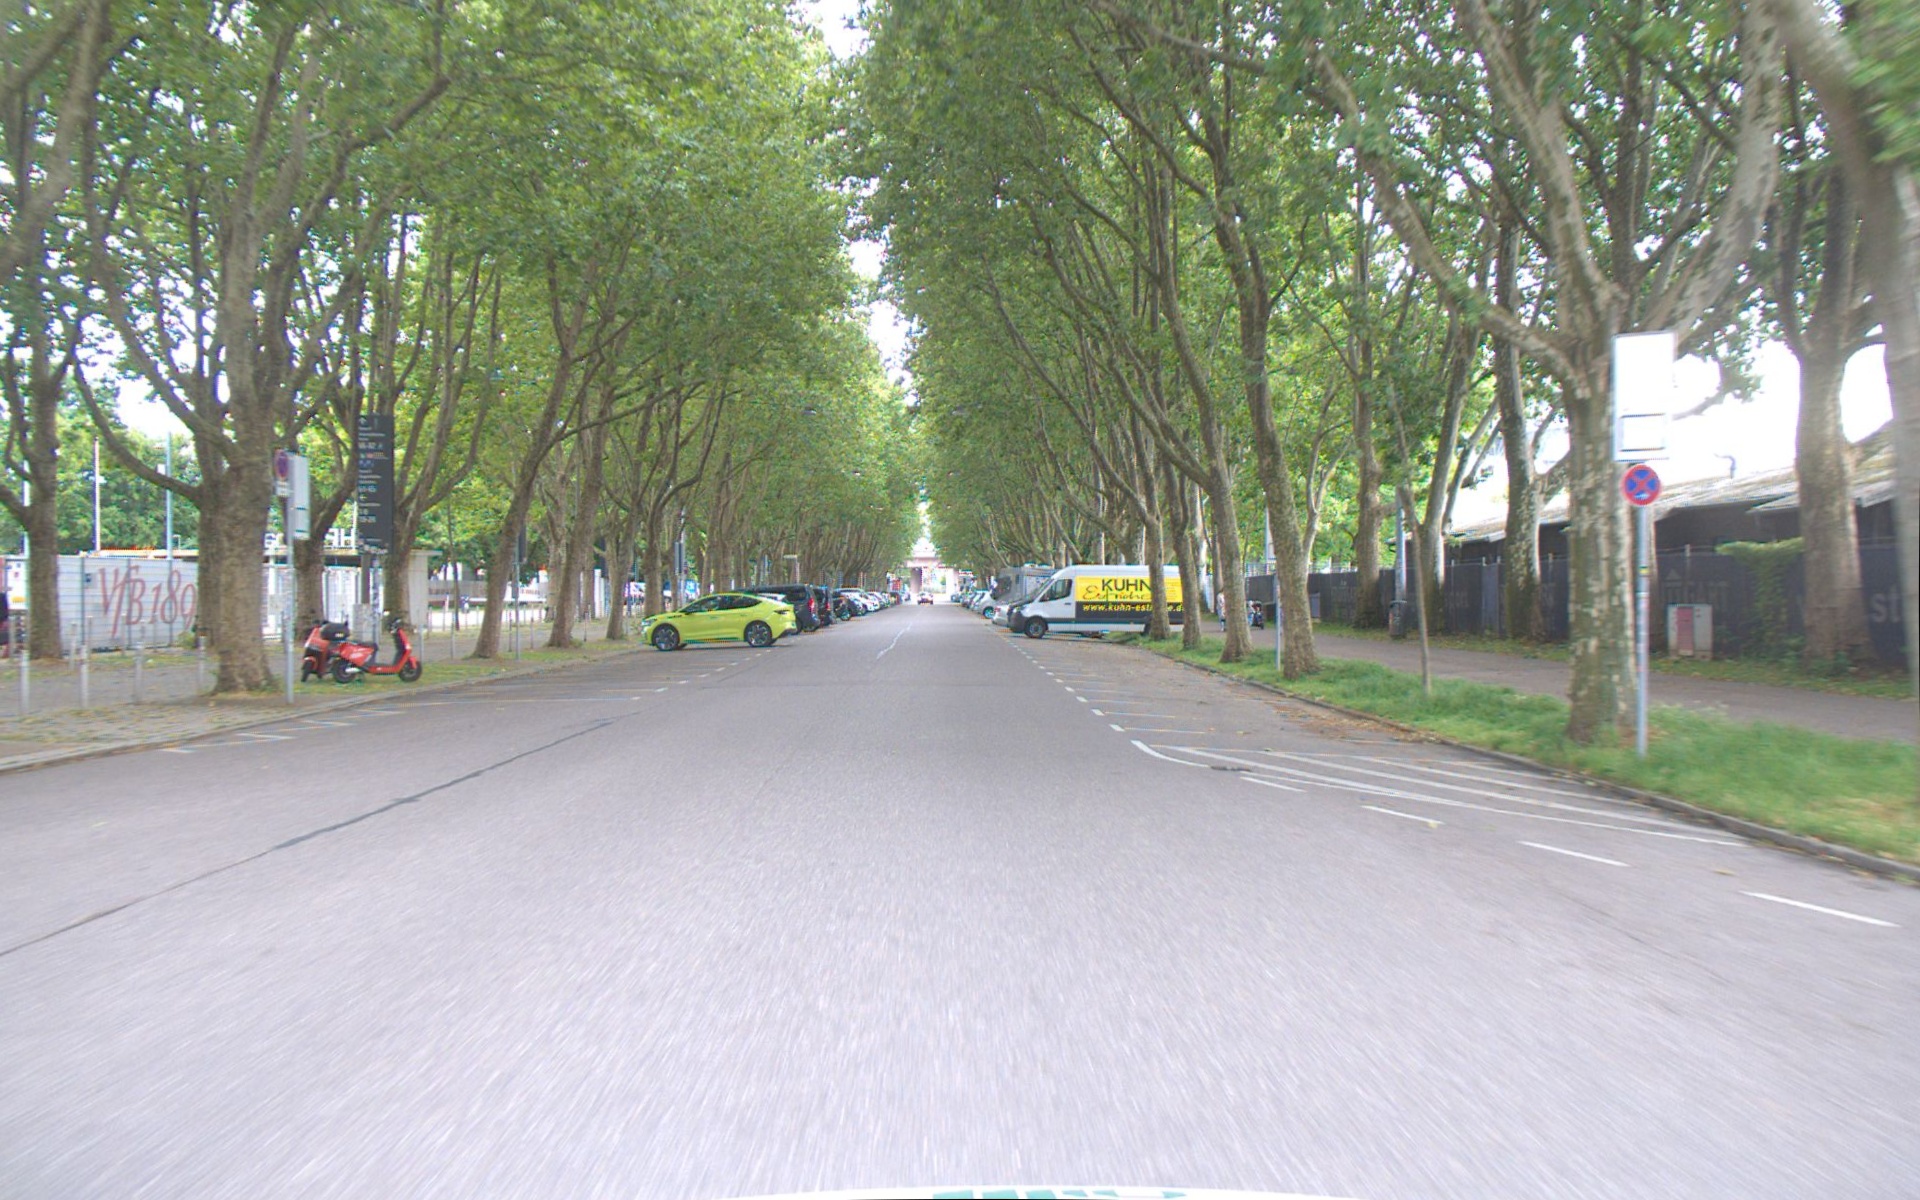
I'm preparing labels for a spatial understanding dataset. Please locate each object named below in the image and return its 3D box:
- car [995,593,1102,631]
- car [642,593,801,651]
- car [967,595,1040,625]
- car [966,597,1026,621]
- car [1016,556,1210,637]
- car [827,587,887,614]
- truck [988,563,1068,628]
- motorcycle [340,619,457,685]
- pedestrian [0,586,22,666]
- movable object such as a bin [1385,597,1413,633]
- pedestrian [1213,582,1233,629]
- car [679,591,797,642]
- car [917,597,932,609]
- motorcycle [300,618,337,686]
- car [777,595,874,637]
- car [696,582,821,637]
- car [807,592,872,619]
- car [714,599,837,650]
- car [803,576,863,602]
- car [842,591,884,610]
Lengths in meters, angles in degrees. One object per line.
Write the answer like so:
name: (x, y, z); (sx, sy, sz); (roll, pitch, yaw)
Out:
car: (3.564, 0.469, 66.626); (4.268, 1.471, 1.613); (1, 0, 3)
car: (-7.027, 0.631, 49.056); (4.423, 1.646, 1.758); (-1, 0, 1)
car: (2.564, 0.601, 98.002); (4.250, 1.646, 1.804); (2, 0, 2)
car: (2.447, 0.638, 113.252); (4.035, 1.454, 1.703); (3, -1, 1)
car: (5.431, -0.126, 59.212); (6.739, 2.742, 2.127); (1, 0, 0)
car: (-8.393, 0.028, 135.355); (4.795, 2.054, 1.919); (-2, 0, -2)
truck: (3.238, -0.203, 80.446); (2.413, 2.989, 7.522); (1, 0, -9)
motorcycle: (-10.492, 0.954, 30.973); (0.565, 1.178, 2.064); (0, 0, 42)
pedestrian: (-21.775, 0.570, 37.322); (0.690, 1.784, 0.874); (1, 0, -1)
movable object such as a bin: (12.563, 0.417, 47.345); (0.557, 0.975, 0.674); (-5, 0, -2)
pedestrian: (9.921, 0.205, 62.354); (0.626, 1.771, 0.621); (-2, 0, 2)
car: (-7.873, 0.585, 58.998); (4.025, 1.596, 1.756); (-2, 0, -6)
car: (-4.353, 0.383, 202.242); (1.622, 1.388, 4.108); (-3, 0, -4)
motorcycle: (-11.852, 0.941, 30.580); (0.565, 1.178, 2.065); (1, 0, -20)
car: (-7.599, 0.897, 93.964); (5.327, 2.165, 1.939); (-2, 1, -3)
car: (-7.759, 0.351, 63.941); (4.670, 1.958, 2.015); (-2, 0, -6)
car: (-8.197, 0.354, 112.421); (4.292, 1.625, 1.999); (-2, 0, -3)
car: (-7.645, 0.993, 68.979); (4.805, 1.958, 2.208); (-2, 0, 0)
car: (-9.230, -0.815, 120.436); (4.254, 1.697, 1.999); (-3, 0, -3)
car: (-8.920, 0.039, 152.330); (3.751, 1.656, 1.951); (-2, 0, -4)
